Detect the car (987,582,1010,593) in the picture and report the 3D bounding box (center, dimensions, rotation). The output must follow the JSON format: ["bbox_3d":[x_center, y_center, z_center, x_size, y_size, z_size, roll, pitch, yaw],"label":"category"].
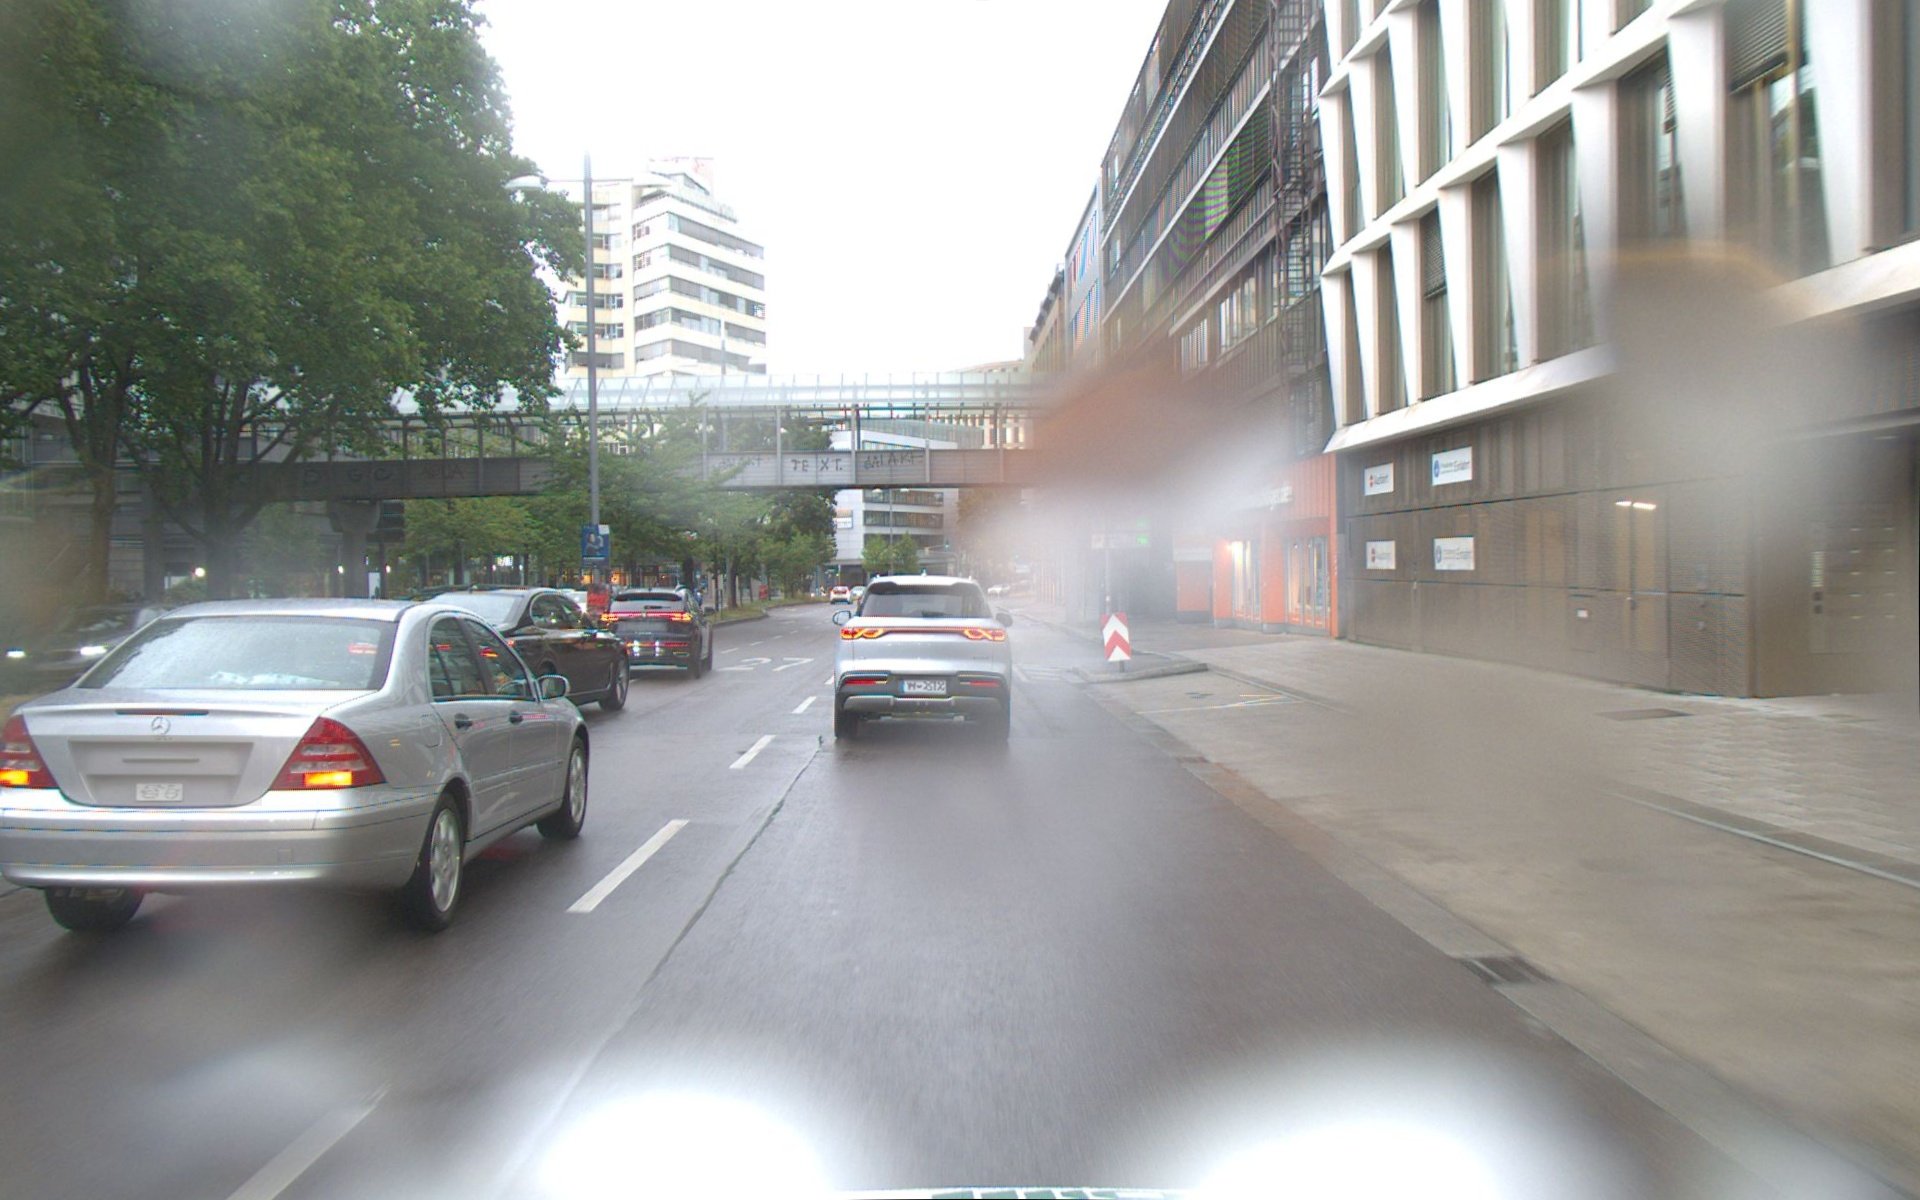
[{"bbox_3d":[5.385,-1.765,229.754,1.551,1.565,3.993,0,0,29],"label":"car"}]

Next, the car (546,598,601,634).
[{"bbox_3d":[-17.237,0.680,73.850,1.629,1.489,4.078,-3,0,-3],"label":"car"}]

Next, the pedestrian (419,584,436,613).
[{"bbox_3d":[-32.268,-0.120,100.241,0.728,1.745,1.056,-1,0,-2],"label":"pedestrian"}]

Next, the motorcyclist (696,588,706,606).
[{"bbox_3d":[-20.667,-0.222,132.132,0.625,1.443,0.970,-1,-1,-1],"label":"motorcyclist"}]

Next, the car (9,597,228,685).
[{"bbox_3d":[-15.390,0.706,30.548,1.656,1.463,4.758,-1,0,-1],"label":"car"}]

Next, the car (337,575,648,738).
[{"bbox_3d":[-4.959,0.529,18.342,1.833,1.505,4.880,-2,0,2],"label":"car"}]

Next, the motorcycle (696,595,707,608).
[{"bbox_3d":[-20.655,0.088,132.226,0.572,1.039,1.805,-1,0,-1],"label":"motorcycle"}]

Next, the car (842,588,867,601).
[{"bbox_3d":[-12.914,-0.655,202.931,1.589,1.518,4.309,-1,0,17],"label":"car"}]

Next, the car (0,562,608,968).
[{"bbox_3d":[-3.026,0.636,8.344,1.638,1.505,4.359,0,-1,-1],"label":"car"}]

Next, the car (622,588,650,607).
[{"bbox_3d":[-25.379,-0.192,129.812,1.591,1.486,3.961,0,0,-3],"label":"car"}]

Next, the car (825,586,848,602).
[{"bbox_3d":[-10.635,-0.511,142.992,1.619,1.365,4.000,0,0,1],"label":"car"}]

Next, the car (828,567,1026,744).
[{"bbox_3d":[-0.347,0.532,17.775,1.862,1.650,3.999,1,0,-1],"label":"car"}]

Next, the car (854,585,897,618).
[{"bbox_3d":[-4.163,0.048,81.896,1.774,1.606,4.001,0,0,1],"label":"car"}]

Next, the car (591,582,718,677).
[{"bbox_3d":[-5.183,0.485,28.507,1.739,1.482,3.996,-1,0,-5],"label":"car"}]

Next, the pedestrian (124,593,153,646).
[{"bbox_3d":[-28.859,0.666,58.091,0.708,1.839,0.617,-1,0,-1],"label":"pedestrian"}]

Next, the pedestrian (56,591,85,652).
[{"bbox_3d":[-27.411,0.661,50.949,0.593,1.839,0.511,-1,0,-1],"label":"pedestrian"}]

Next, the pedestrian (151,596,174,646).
[{"bbox_3d":[-28.058,0.732,58.208,0.548,1.715,0.511,-1,0,-1],"label":"pedestrian"}]

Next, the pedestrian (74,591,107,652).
[{"bbox_3d":[-26.699,0.649,50.810,0.584,1.839,0.759,-1,0,-1],"label":"pedestrian"}]
